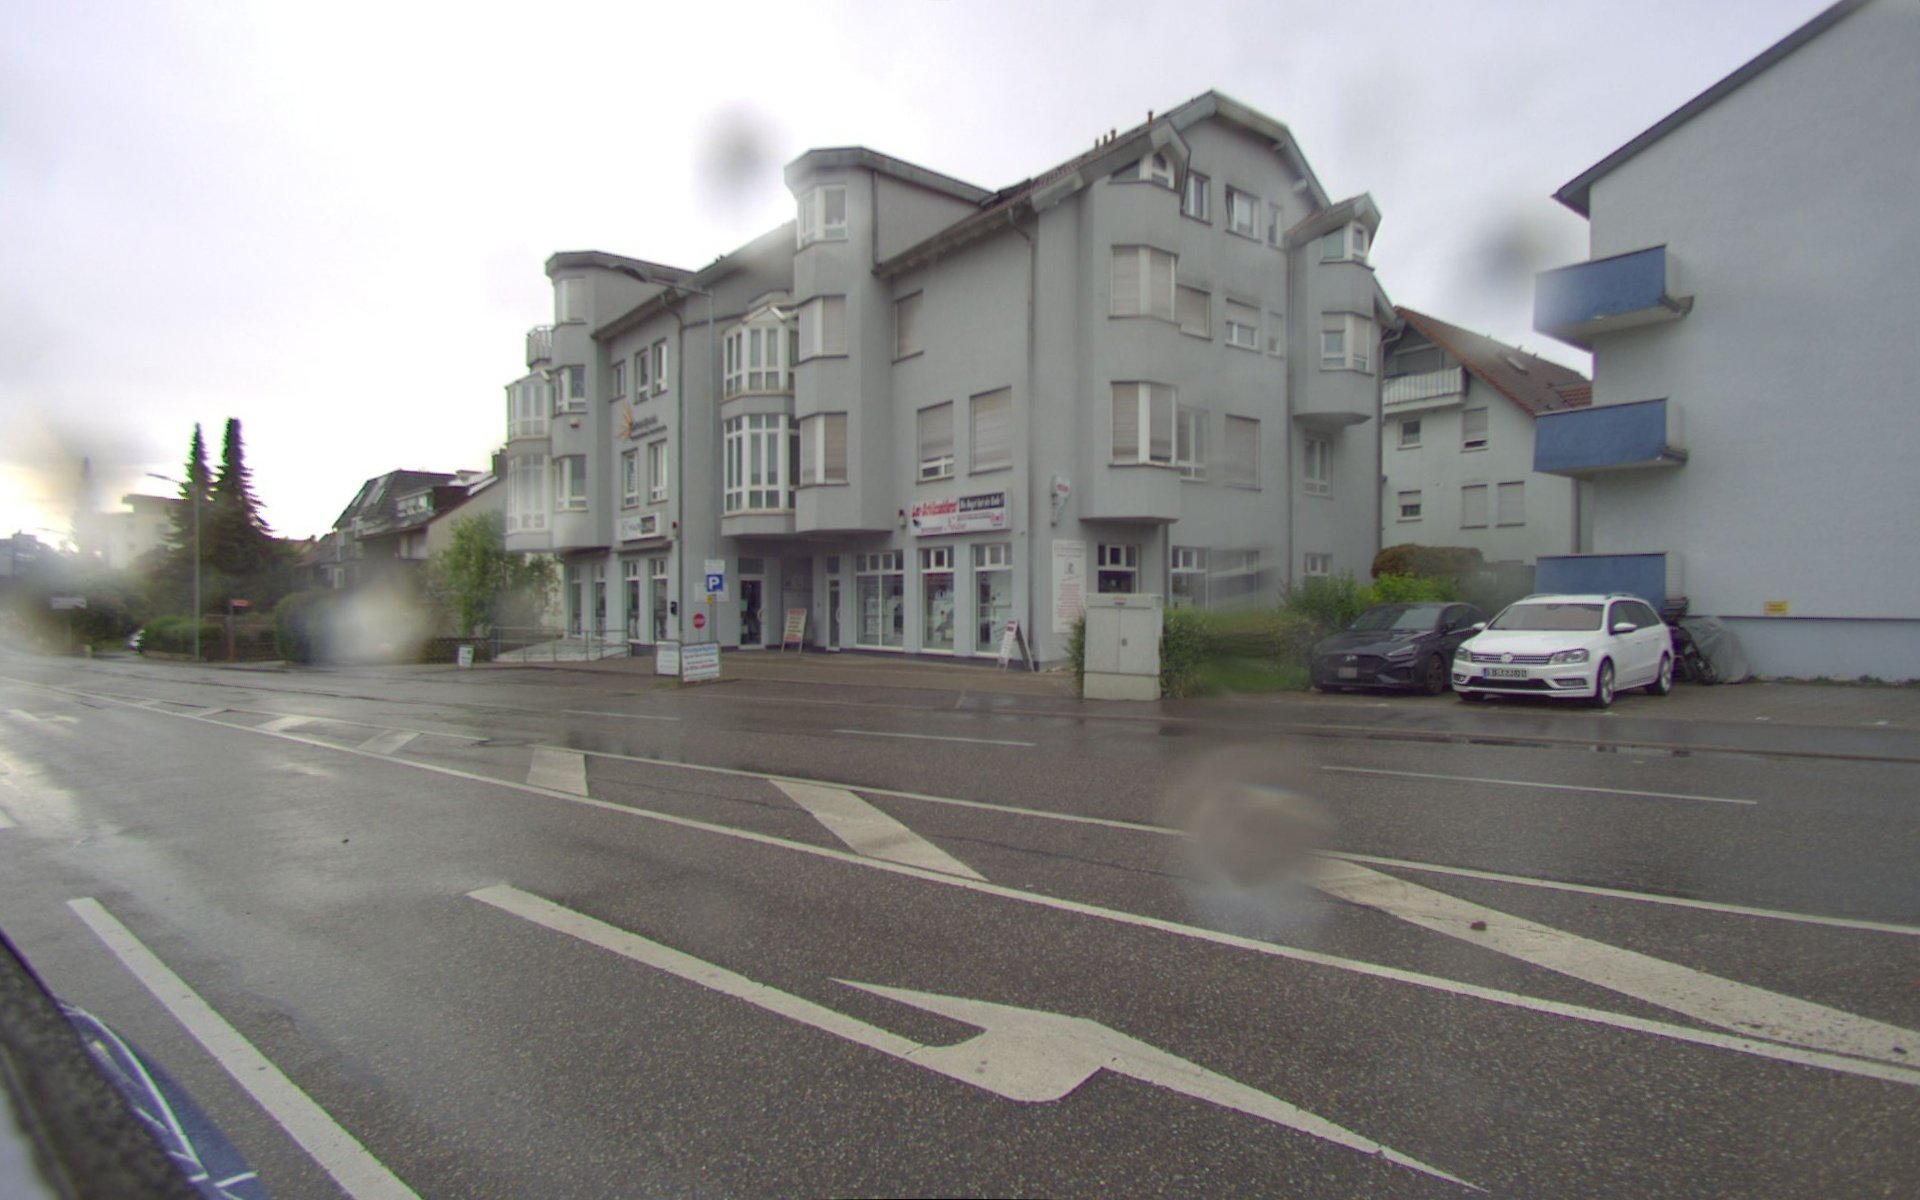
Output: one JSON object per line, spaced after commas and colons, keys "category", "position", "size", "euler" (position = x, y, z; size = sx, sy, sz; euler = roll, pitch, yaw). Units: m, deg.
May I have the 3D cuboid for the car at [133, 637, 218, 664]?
{"category": "car", "position": [-48.262, 3.099, 62.303], "size": [3.979, 1.453, 1.814], "euler": [-1, -1, -44]}

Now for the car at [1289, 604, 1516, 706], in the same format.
{"category": "car", "position": [7.104, 0.799, 16.076], "size": [3.940, 1.421, 1.906], "euler": [0, -2, -44]}

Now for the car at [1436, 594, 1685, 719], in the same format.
{"category": "car", "position": [8.491, 0.711, 14.165], "size": [4.169, 1.485, 1.906], "euler": [0, -2, -44]}

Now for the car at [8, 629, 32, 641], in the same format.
{"category": "car", "position": [-123.363, 4.602, 132.825], "size": [1.968, 1.628, 4.007], "euler": [1, -2, -39]}

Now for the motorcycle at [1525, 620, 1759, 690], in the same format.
{"category": "motorcycle", "position": [11.395, 0.930, 17.088], "size": [3.112, 1.108, 0.869], "euler": [-2, -1, 24]}

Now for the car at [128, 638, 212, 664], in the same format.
{"category": "car", "position": [-50.006, 3.188, 64.085], "size": [4.097, 1.453, 1.892], "euler": [-1, -1, -42]}

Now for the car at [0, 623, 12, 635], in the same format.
{"category": "car", "position": [-147.954, 4.483, 156.331], "size": [1.824, 1.777, 4.128], "euler": [1, -2, -39]}

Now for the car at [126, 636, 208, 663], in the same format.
{"category": "car", "position": [-51.813, 3.203, 66.152], "size": [4.058, 1.557, 2.001], "euler": [-1, -1, -44]}
